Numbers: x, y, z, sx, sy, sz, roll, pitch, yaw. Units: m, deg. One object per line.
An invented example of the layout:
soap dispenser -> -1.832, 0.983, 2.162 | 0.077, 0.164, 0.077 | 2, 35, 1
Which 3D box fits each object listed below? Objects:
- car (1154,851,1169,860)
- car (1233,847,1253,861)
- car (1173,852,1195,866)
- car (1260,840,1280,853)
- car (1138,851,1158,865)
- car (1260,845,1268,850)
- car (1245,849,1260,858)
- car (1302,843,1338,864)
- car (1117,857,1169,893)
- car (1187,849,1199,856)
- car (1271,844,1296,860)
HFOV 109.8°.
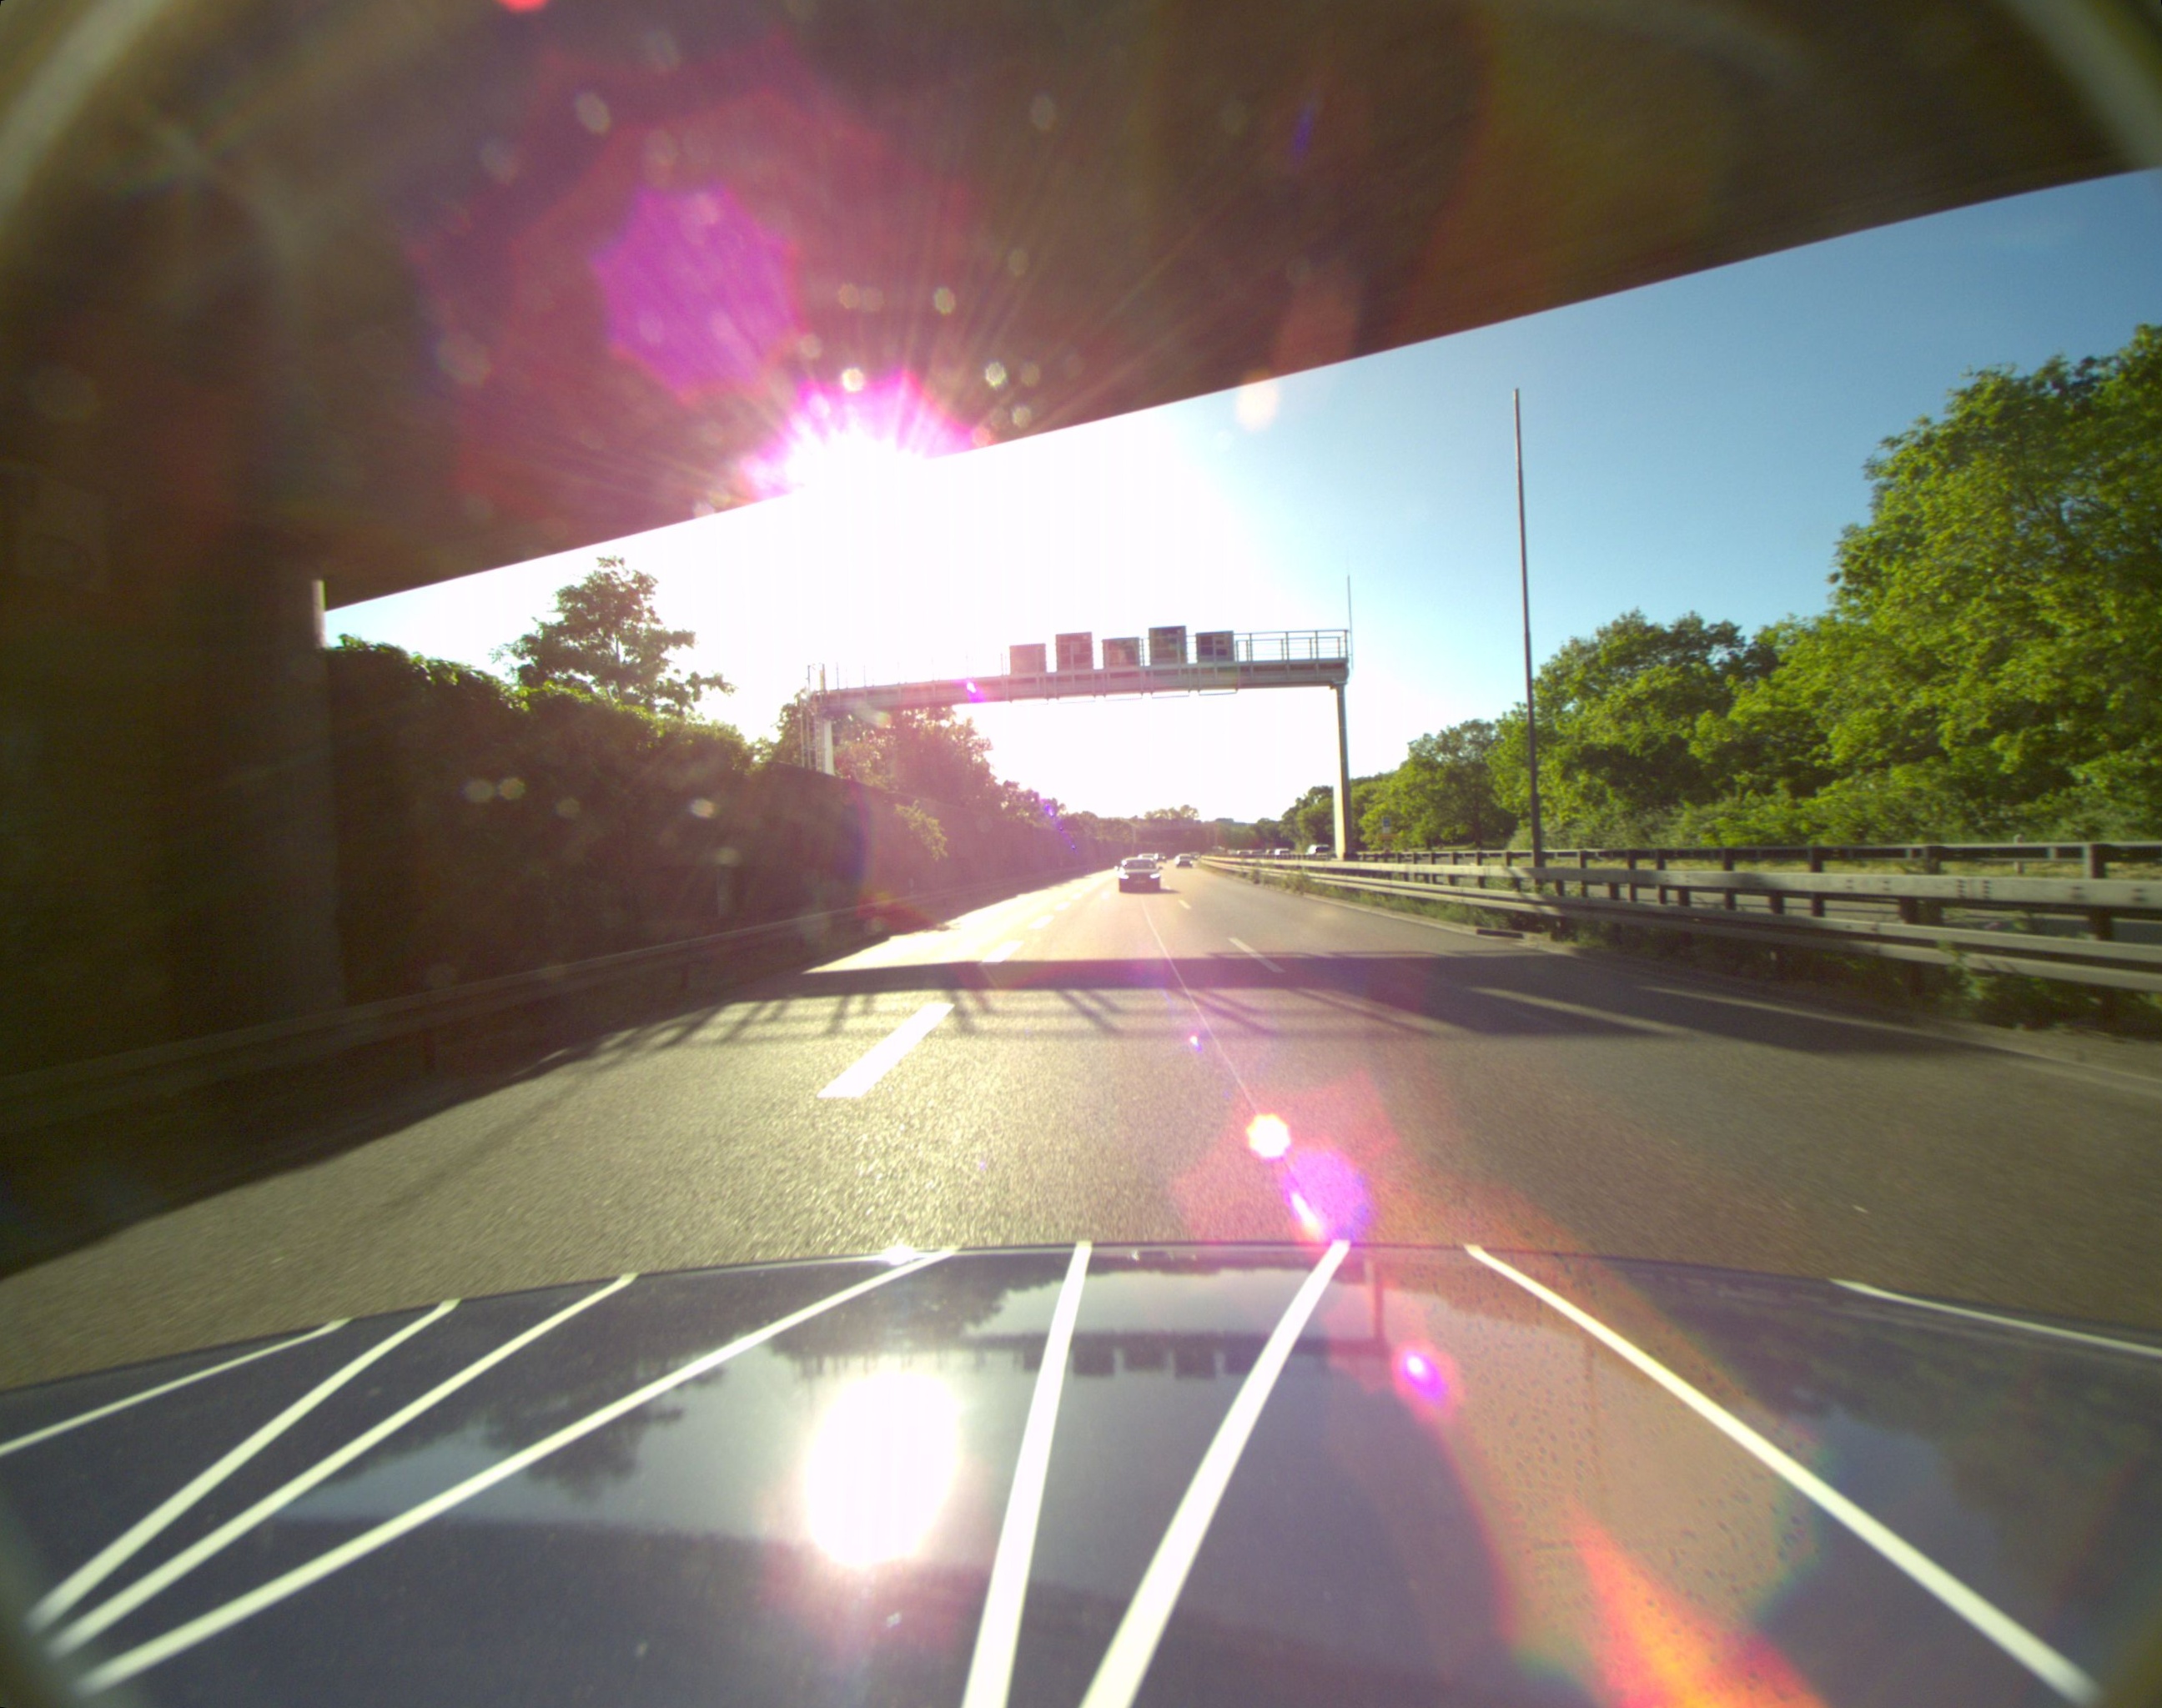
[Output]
car -> 13.875, 0.194, 131.155 | 1.997, 1.406, 4.834 | -3, 0, 11
car -> 20.800, -0.036, 97.744 | 1.997, 1.631, 4.723 | -3, 0, 6
car -> 11.436, 0.542, 84.862 | 1.998, 1.406, 4.832 | -3, 0, 4
car -> 27.294, -1.058, 109.770 | 1.998, 1.631, 5.029 | -3, 0, 6
car -> 7.225, 0.430, 81.491 | 1.997, 1.406, 4.833 | -3, 0, 7
car -> 58.673, -2.003, 243.808 | 1.996, 1.406, 4.837 | -3, 0, 21
car -> 29.894, -0.132, 132.851 | 1.998, 1.469, 4.723 | -3, 0, 6
car -> 20.704, -0.070, 65.931 | 1.997, 1.631, 4.723 | -3, 0, 6
car -> 2.845, 0.872, 33.774 | 1.997, 1.406, 4.833 | -2, 0, 8
car -> 22.404, -0.311, 151.321 | 1.997, 1.406, 4.835 | -3, 0, 12
car -> 23.292, -0.248, 87.548 | 1.997, 1.631, 4.723 | -3, 0, 6
